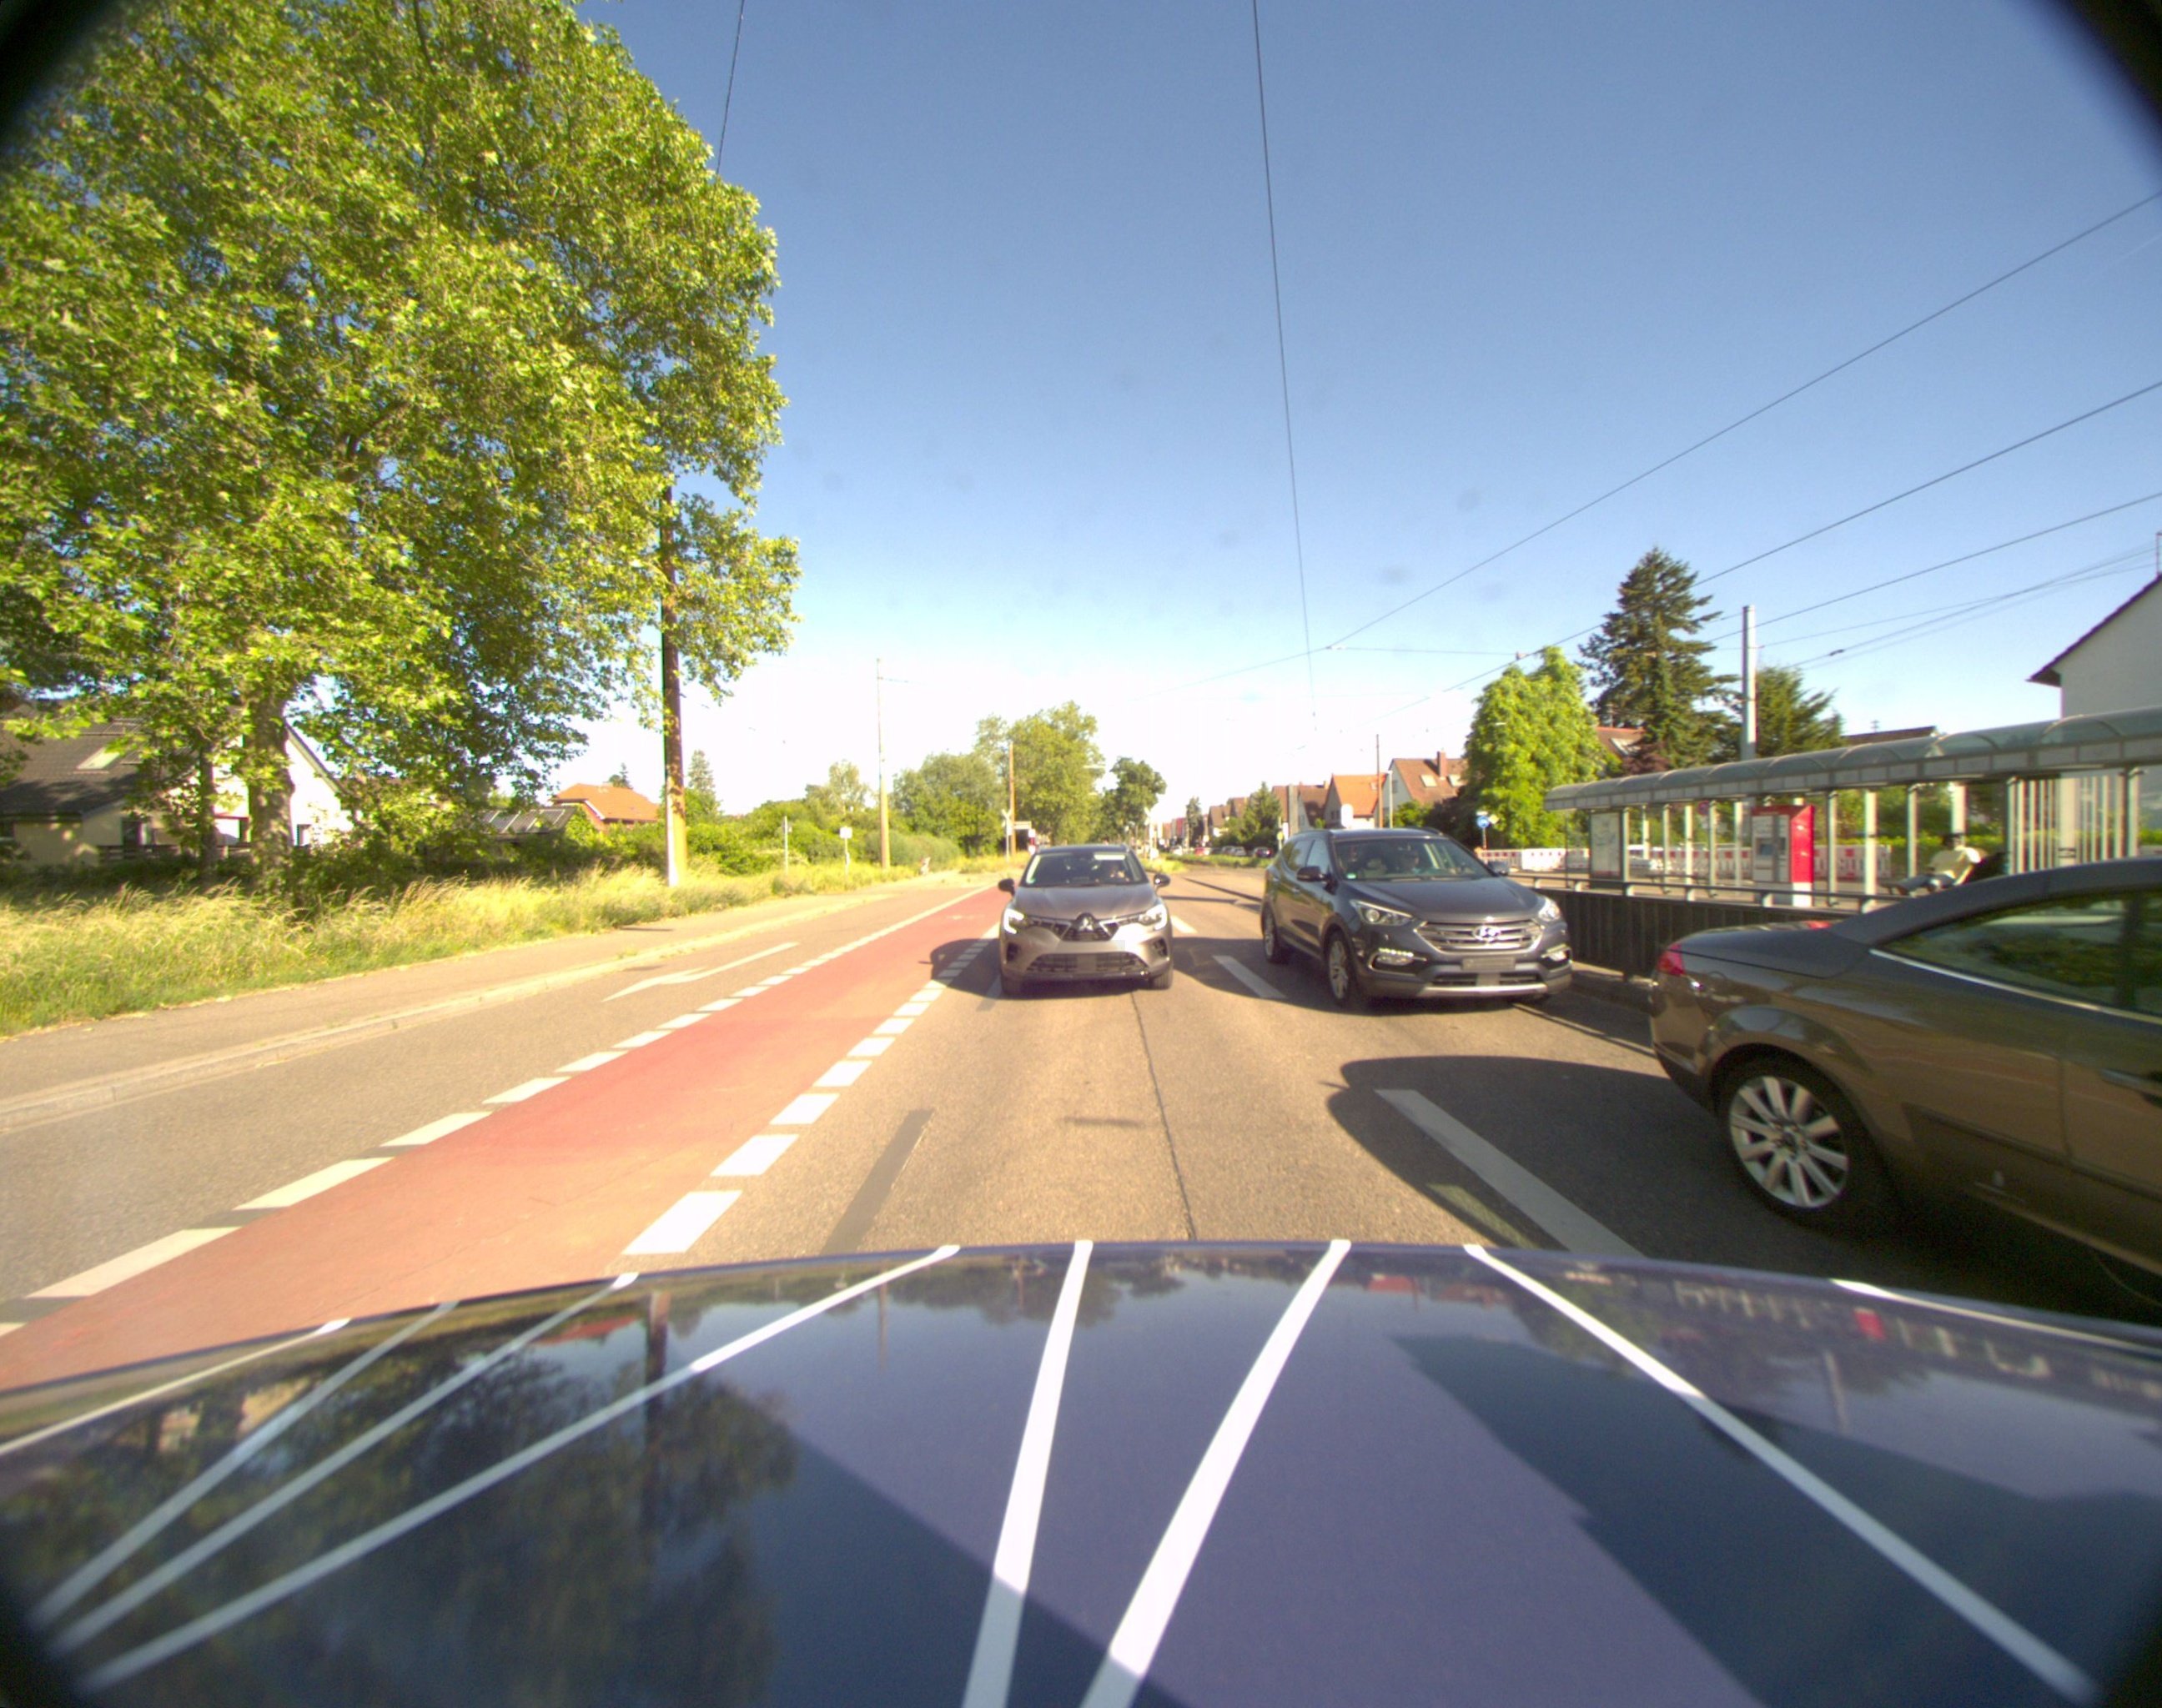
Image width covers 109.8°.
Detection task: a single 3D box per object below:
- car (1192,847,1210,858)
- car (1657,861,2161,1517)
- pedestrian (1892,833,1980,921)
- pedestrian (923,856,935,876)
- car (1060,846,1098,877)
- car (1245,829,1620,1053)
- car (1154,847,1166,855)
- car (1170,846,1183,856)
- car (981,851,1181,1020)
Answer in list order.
[{"bbox_3d":[17.108,-0.219,108.241,1.998,1.455,4.000,-1,1,1],"label":"car"},{"bbox_3d":[3.481,0.819,1.266,1.755,1.525,4.193,-1,0,-2],"label":"car"},{"bbox_3d":[14.086,0.362,12.532,0.623,1.406,0.711,0,1,-2],"label":"pedestrian"},{"bbox_3d":[-8.034,0.623,40.140,0.482,1.027,0.454,-1,1,1],"label":"pedestrian"},{"bbox_3d":[-0.075,0.351,39.830,1.839,1.541,3.815,-1,1,1],"label":"car"},{"bbox_3d":[3.165,0.647,7.968,1.886,1.686,4.299,-1,1,-1],"label":"car"},{"bbox_3d":[16.423,-0.707,157.636,1.998,1.652,4.000,-1,1,1],"label":"car"},{"bbox_3d":[17.242,-0.517,137.390,1.998,1.761,4.000,-1,1,1],"label":"car"},{"bbox_3d":[0.022,0.749,8.962,1.839,1.541,3.815,-1,1,1],"label":"car"}]
